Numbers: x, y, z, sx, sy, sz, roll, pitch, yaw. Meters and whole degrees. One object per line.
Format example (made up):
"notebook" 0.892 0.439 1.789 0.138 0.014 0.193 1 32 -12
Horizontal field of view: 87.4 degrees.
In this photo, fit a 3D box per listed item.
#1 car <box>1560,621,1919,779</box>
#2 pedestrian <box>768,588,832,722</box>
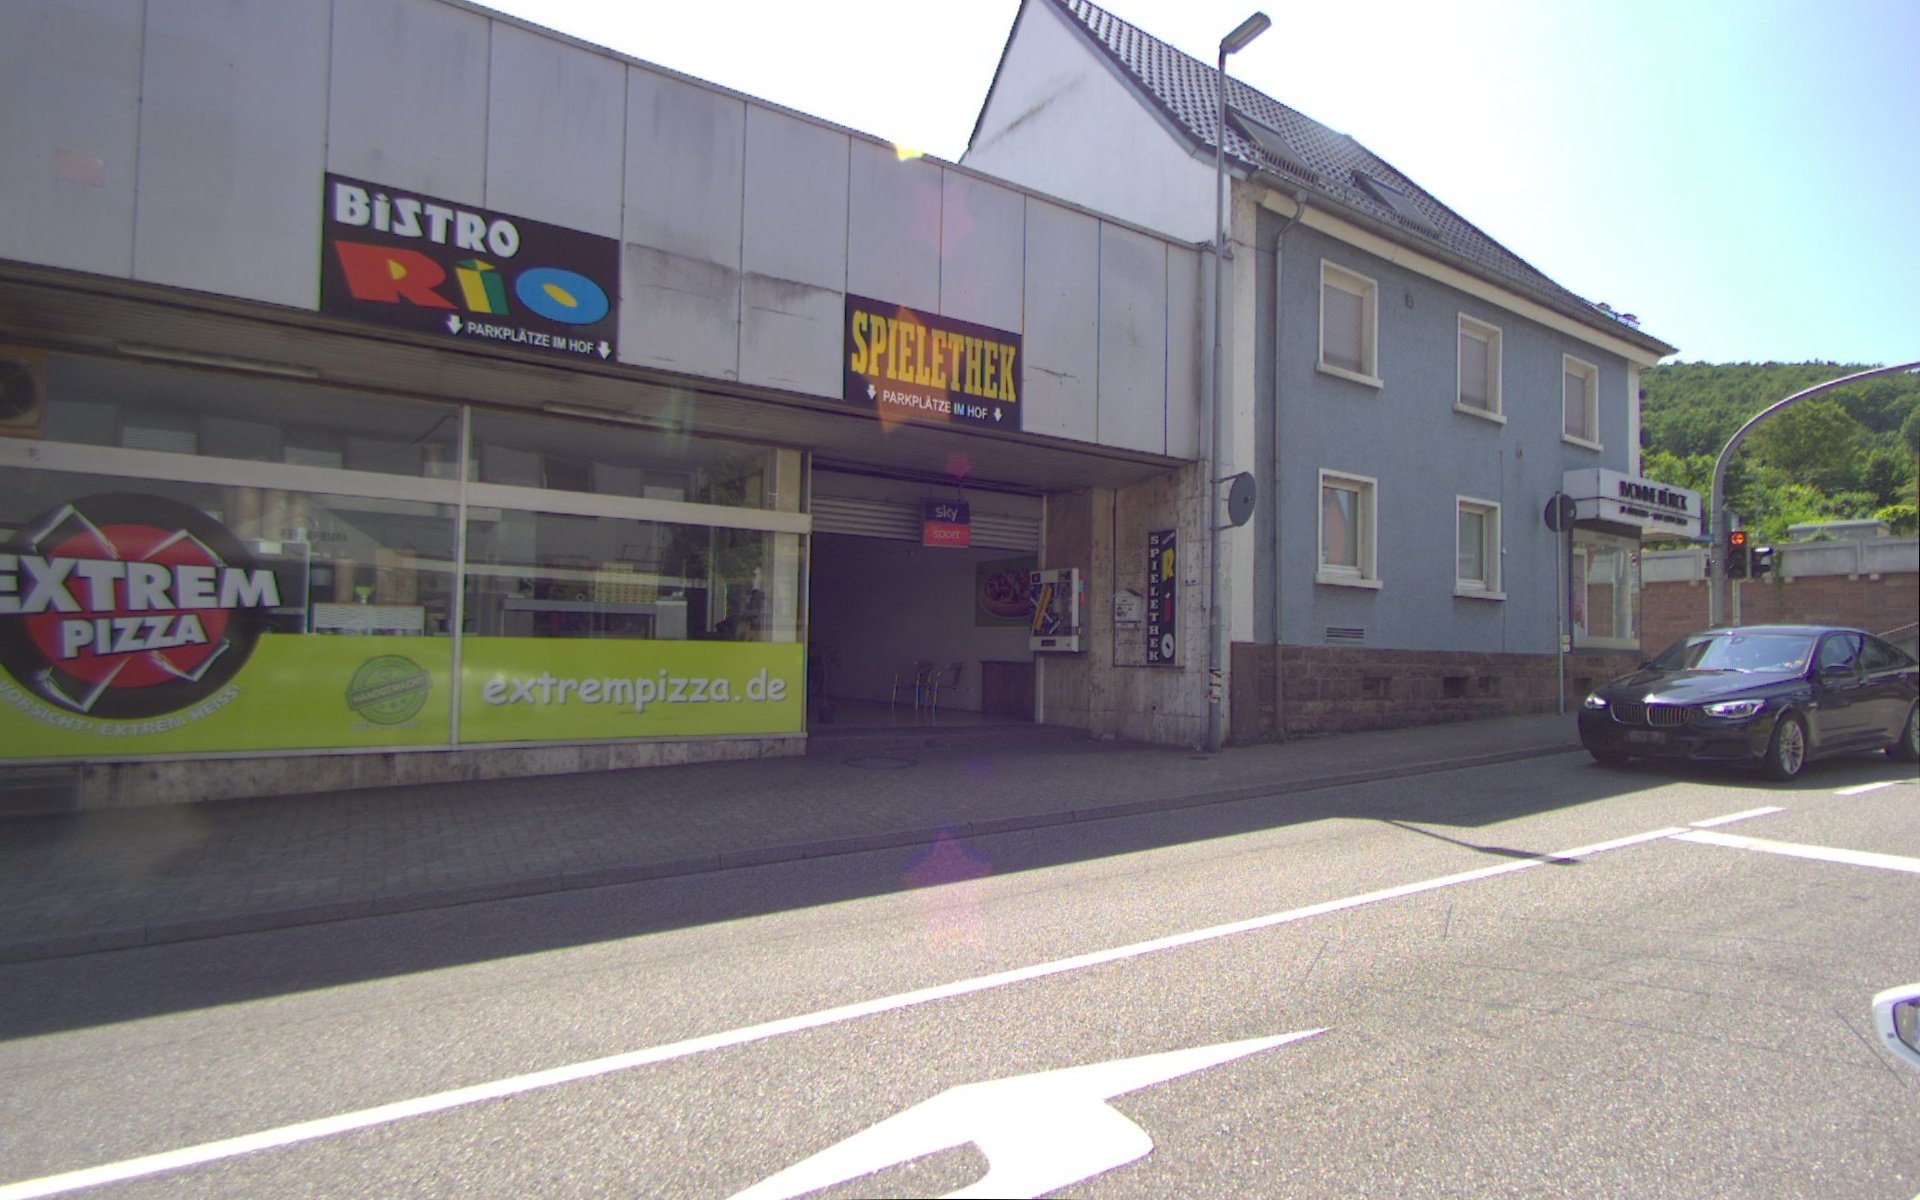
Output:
"car" 9.232 1.072 11.521 4.736 1.506 1.791 2 -4 -28
"pedestrian" -2.303 0.776 14.452 0.686 1.852 0.738 1 -1 -31
